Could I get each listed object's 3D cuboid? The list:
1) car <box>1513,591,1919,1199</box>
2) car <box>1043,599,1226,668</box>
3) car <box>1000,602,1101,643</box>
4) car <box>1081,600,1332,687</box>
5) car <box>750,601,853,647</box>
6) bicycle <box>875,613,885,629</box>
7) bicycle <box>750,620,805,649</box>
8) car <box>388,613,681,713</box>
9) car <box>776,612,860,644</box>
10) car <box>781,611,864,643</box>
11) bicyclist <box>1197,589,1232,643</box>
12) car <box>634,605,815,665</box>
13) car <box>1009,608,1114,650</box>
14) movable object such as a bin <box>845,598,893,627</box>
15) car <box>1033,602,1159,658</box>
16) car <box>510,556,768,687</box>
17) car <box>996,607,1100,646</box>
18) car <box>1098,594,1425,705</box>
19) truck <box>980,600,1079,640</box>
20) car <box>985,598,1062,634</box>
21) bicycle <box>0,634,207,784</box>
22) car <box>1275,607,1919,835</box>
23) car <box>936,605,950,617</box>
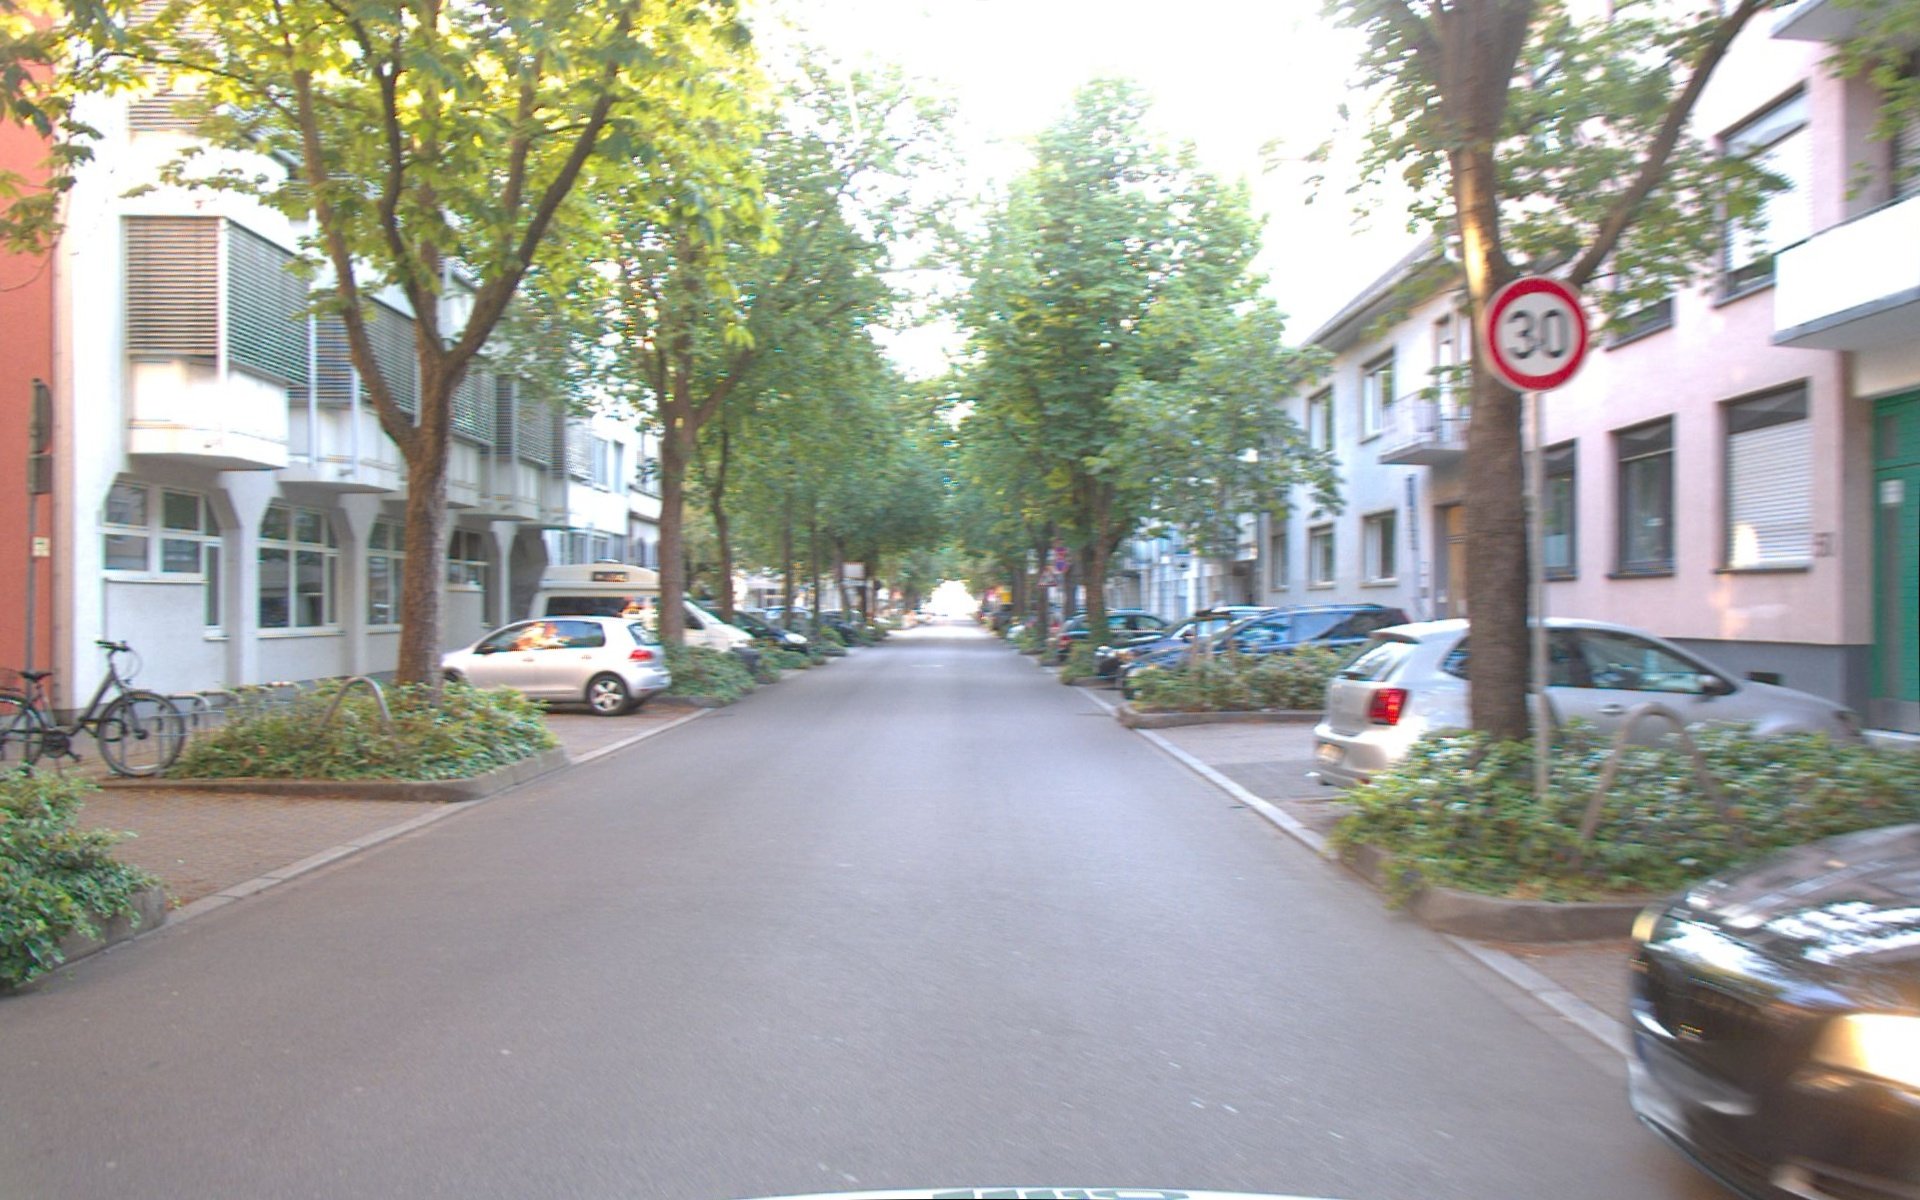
[{"bbox_3d":[4.070,0.750,4.057,4.775,1.523,1.988,0,0,-1],"label":"car"},{"bbox_3d":[4.301,0.828,41.176,4.365,1.452,2.012,-3,-1,4],"label":"car"},{"bbox_3d":[4.348,1.074,79.619,4.552,1.645,2.008,-4,0,-5],"label":"car"},{"bbox_3d":[4.741,0.836,32.332,4.582,1.412,2.000,-3,0,1],"label":"car"},{"bbox_3d":[-7.008,1.056,73.571,4.414,1.990,1.999,0,-1,-2],"label":"car"},{"bbox_3d":[-6.061,1.615,125.674,0.670,1.173,1.978,0,0,-6],"label":"bicycle"},{"bbox_3d":[-5.375,1.011,48.752,1.520,0.845,0.613,0,-1,2],"label":"bicycle"},{"bbox_3d":[-6.587,0.956,25.962,4.082,1.494,1.953,0,0,0],"label":"car"},{"bbox_3d":[-6.729,1.311,78.799,3.907,1.490,1.921,0,0,-2],"label":"car"},{"bbox_3d":[-6.936,1.357,83.837,3.903,1.593,1.930,0,0,5],"label":"car"},{"bbox_3d":[7.759,0.473,50.466,0.950,1.632,1.136,-1,0,3],"label":"bicyclist"},{"bbox_3d":[-6.579,0.963,46.612,4.753,1.650,2.160,0,0,0],"label":"car"},{"bbox_3d":[4.186,1.186,68.420,4.005,1.476,1.932,-3,0,-6],"label":"car"},{"bbox_3d":[-7.721,1.064,140.194,3.968,2.425,2.781,0,0,-6],"label":"movable object such as a bin"},{"bbox_3d":[4.427,0.971,54.374,3.889,1.613,1.916,-3,-1,-1],"label":"car"},{"bbox_3d":[-6.552,0.436,34.203,4.901,2.618,2.120,0,0,-1],"label":"car"},{"bbox_3d":[3.951,1.194,74.563,4.507,1.493,1.795,-3,-1,-1],"label":"car"},{"bbox_3d":[4.613,0.749,25.865,4.739,1.473,2.042,-2,0,2],"label":"car"},{"bbox_3d":[4.064,1.172,97.655,5.767,2.351,2.212,0,-1,0],"label":"truck"},{"bbox_3d":[3.836,0.963,100.398,4.507,2.102,2.197,-1,0,-2],"label":"car"},{"bbox_3d":[-7.417,0.897,13.830,1.921,1.197,0.655,0,-1,-7],"label":"bicycle"},{"bbox_3d":[4.487,0.810,12.037,4.000,1.517,1.797,0,0,-4],"label":"car"},{"bbox_3d":[-2.681,1.733,260.098,1.969,1.641,4.118,1,1,-2],"label":"car"}]
